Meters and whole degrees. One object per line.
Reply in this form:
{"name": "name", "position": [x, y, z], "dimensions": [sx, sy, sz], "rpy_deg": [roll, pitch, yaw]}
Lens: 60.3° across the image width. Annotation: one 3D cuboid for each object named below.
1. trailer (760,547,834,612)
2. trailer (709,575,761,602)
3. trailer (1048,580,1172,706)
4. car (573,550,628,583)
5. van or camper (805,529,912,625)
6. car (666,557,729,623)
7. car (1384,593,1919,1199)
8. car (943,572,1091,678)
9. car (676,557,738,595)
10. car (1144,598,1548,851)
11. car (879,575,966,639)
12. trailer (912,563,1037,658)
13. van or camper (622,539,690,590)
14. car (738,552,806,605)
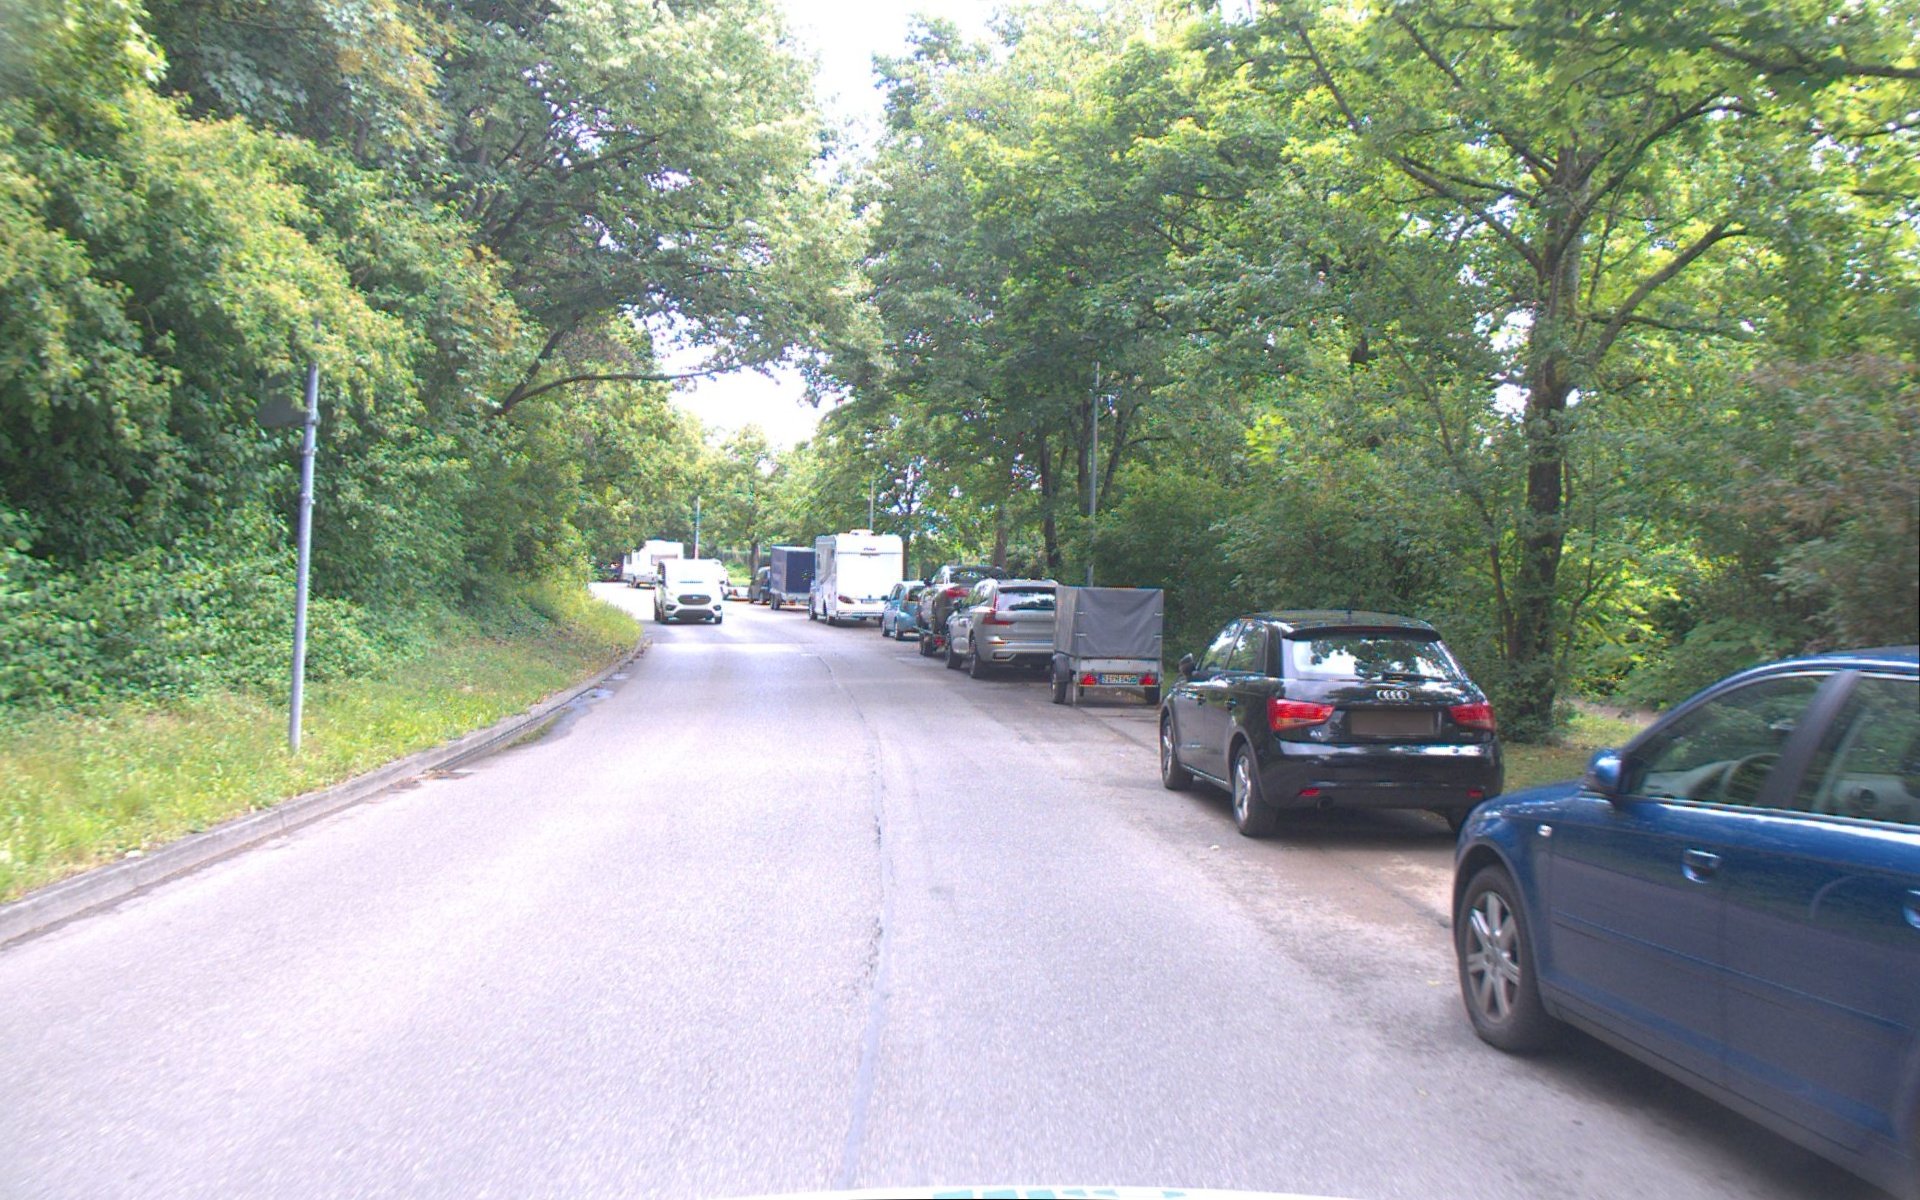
{"name": "trailer", "position": [-6.448, -0.807, 65.120], "dimensions": [1.964, 2.440, 3.977], "rpy_deg": [1, 1, -20]}
{"name": "trailer", "position": [-10.079, -0.526, 73.984], "dimensions": [1.626, 1.105, 3.981], "rpy_deg": [-1, 2, -18]}
{"name": "trailer", "position": [2.022, 0.548, 22.788], "dimensions": [1.253, 1.612, 2.458], "rpy_deg": [2, 0, -5]}
{"name": "car", "position": [-21.647, -2.037, 99.465], "dimensions": [1.975, 1.901, 3.955], "rpy_deg": [-1, 3, -33]}
{"name": "van or camper", "position": [-3.456, -0.762, 54.741], "dimensions": [2.439, 2.926, 6.868], "rpy_deg": [1, 1, -12]}
{"name": "car", "position": [-8.569, -0.354, 54.272], "dimensions": [1.911, 2.019, 4.493], "rpy_deg": [2, 1, -8]}
{"name": "car", "position": [2.875, 0.764, 4.656], "dimensions": [1.811, 1.500, 4.473], "rpy_deg": [2, 0, -6]}
{"name": "car", "position": [0.914, 0.435, 29.154], "dimensions": [1.759, 1.699, 4.491], "rpy_deg": [1, -1, -9]}
{"name": "car", "position": [-12.715, -1.225, 82.878], "dimensions": [2.009, 1.835, 4.050], "rpy_deg": [0, 1, -26]}
{"name": "car", "position": [2.574, 0.758, 12.006], "dimensions": [1.687, 1.478, 3.913], "rpy_deg": [2, 0, -5]}
{"name": "car", "position": [-1.049, 0.160, 44.544], "dimensions": [1.767, 1.589, 3.826], "rpy_deg": [1, 1, -10]}
{"name": "trailer", "position": [0.218, 0.147, 35.267], "dimensions": [1.942, 1.843, 5.140], "rpy_deg": [1, 1, -8]}
{"name": "van or camper", "position": [-16.675, -1.970, 90.576], "dimensions": [2.498, 2.744, 4.534], "rpy_deg": [0, 2, -28]}
{"name": "car", "position": [-8.025, -0.967, 70.372], "dimensions": [1.965, 2.061, 3.976], "rpy_deg": [-2, 3, -21]}
